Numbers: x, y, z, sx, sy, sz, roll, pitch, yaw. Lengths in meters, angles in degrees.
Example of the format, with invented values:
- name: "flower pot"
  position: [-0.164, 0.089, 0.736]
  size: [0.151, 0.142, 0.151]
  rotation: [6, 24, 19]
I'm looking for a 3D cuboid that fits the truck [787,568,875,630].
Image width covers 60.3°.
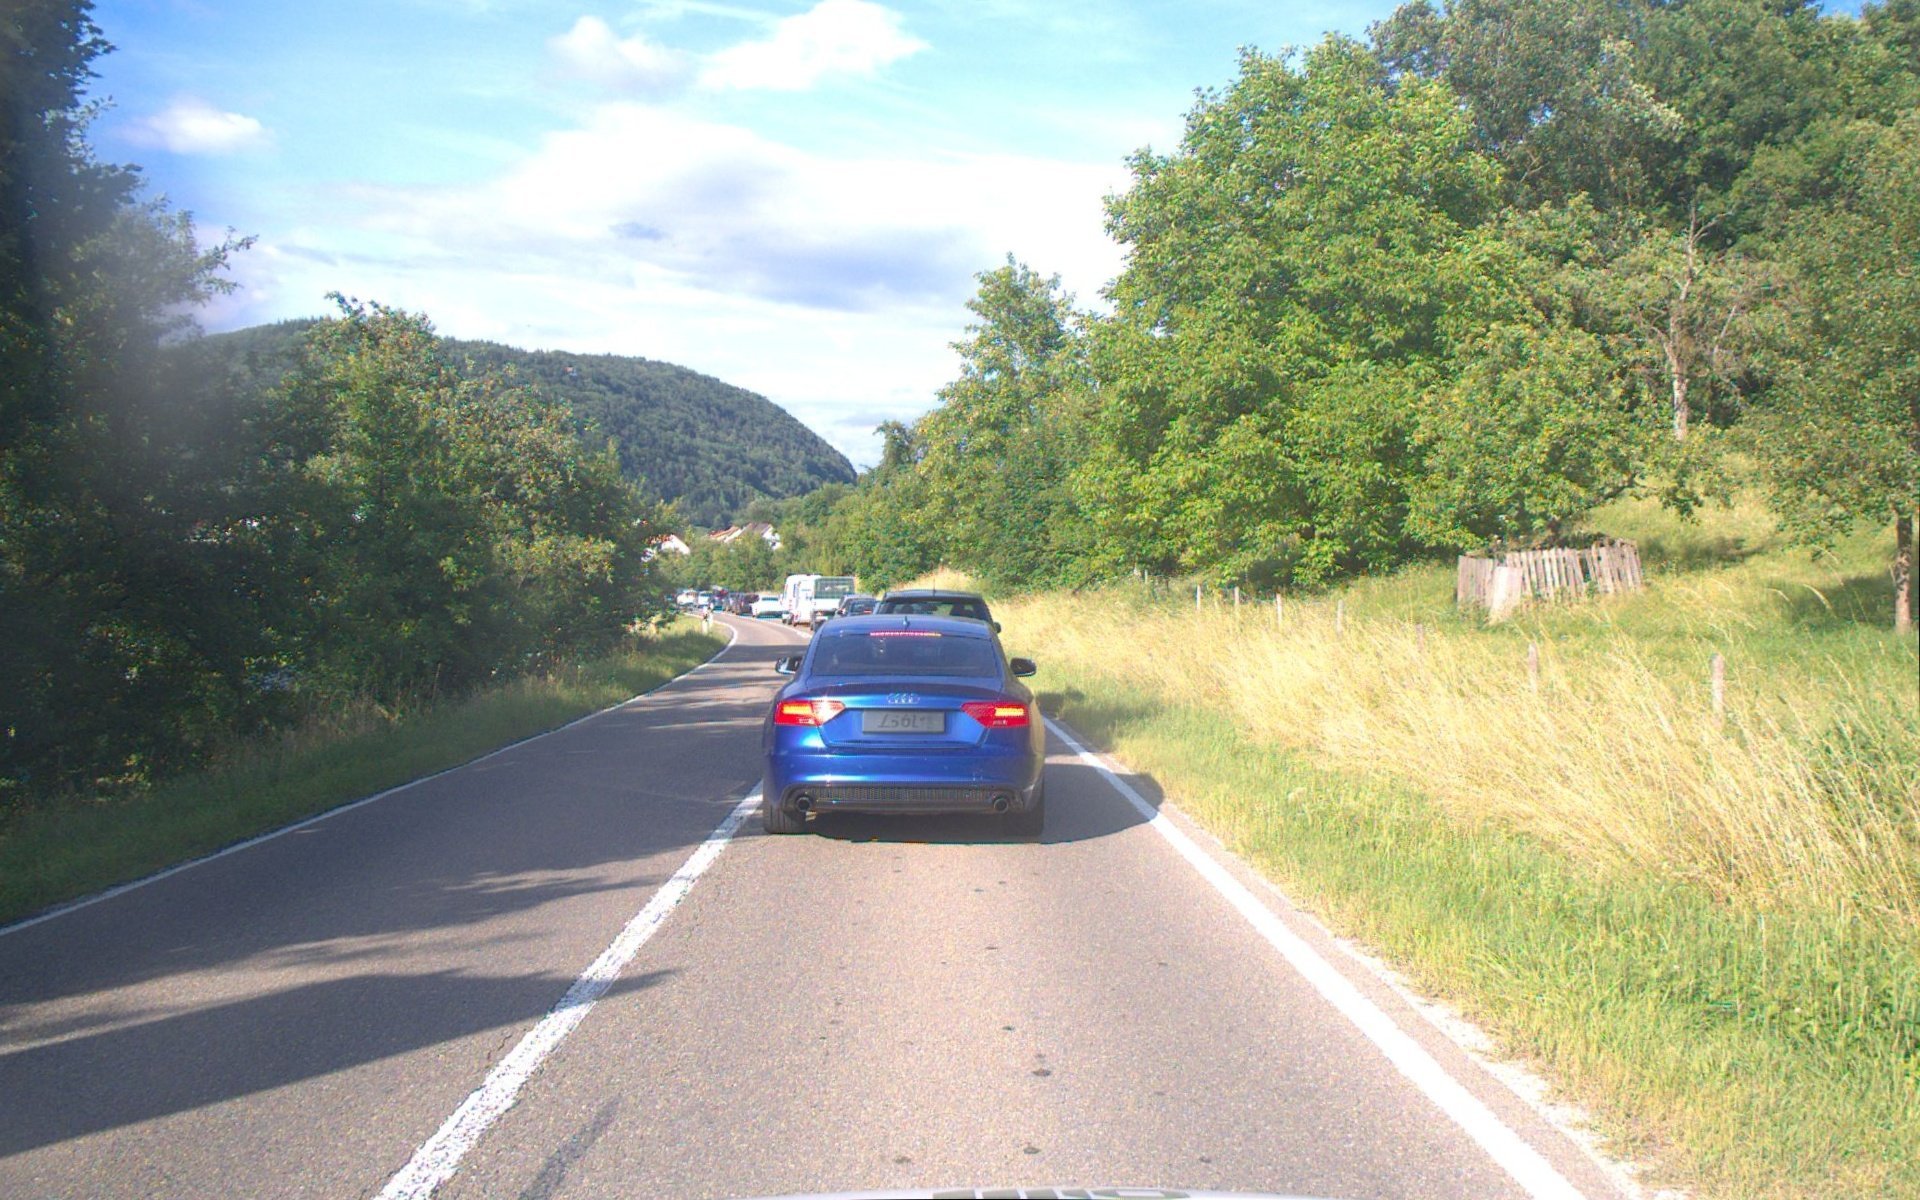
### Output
- name: "truck"
  position: [-6.216, -0.038, 78.305]
  size: [2.814, 2.712, 10.361]
  rotation: [1, 0, -12]

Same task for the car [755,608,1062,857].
- name: "car"
  position: [-0.309, 0.774, 11.522]
  size: [1.757, 1.383, 4.000]
  rotation: [0, 0, -1]

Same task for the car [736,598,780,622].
- name: "car"
  position: [-13.320, 0.638, 108.757]
  size: [1.965, 1.508, 3.974]
  rotation: [1, -1, -22]

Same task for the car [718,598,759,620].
- name: "car"
  position: [-15.539, 0.653, 116.056]
  size: [1.965, 1.508, 3.974]
  rotation: [1, -1, -22]

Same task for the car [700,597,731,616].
- name: "car"
  position: [-20.229, 0.533, 136.687]
  size: [1.962, 1.508, 3.980]
  rotation: [1, -1, -18]

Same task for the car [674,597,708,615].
- name: "car"
  position: [-23.658, 0.540, 145.328]
  size: [1.967, 1.508, 3.971]
  rotation: [1, -1, -23]

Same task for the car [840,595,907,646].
- name: "car"
  position: [-2.638, 0.637, 51.478]
  size: [1.953, 1.508, 3.999]
  rotation: [1, -1, -1]

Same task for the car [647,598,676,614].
- name: "car"
  position: [-30.306, 0.612, 167.793]
  size: [1.967, 1.508, 3.971]
  rotation: [1, -1, -23]

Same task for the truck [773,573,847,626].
- name: "truck"
  position: [-8.440, -0.022, 91.868]
  size: [2.814, 2.712, 10.612]
  rotation: [1, 0, -12]

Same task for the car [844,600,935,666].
- name: "car"
  position: [-1.584, 0.734, 37.968]
  size: [1.953, 1.411, 3.999]
  rotation: [1, -1, -1]

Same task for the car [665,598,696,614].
- name: "car"
  position: [-26.200, 0.571, 154.899]
  size: [1.967, 1.508, 3.971]
  rotation: [1, -1, -23]

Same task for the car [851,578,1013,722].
- name: "car"
  position: [-0.388, 0.626, 22.199]
  size: [1.953, 1.732, 3.999]
  rotation: [1, -1, -1]

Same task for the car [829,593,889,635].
- name: "car"
  position: [-3.877, 0.540, 63.082]
  size: [1.956, 1.508, 3.992]
  rotation: [1, -1, -9]
